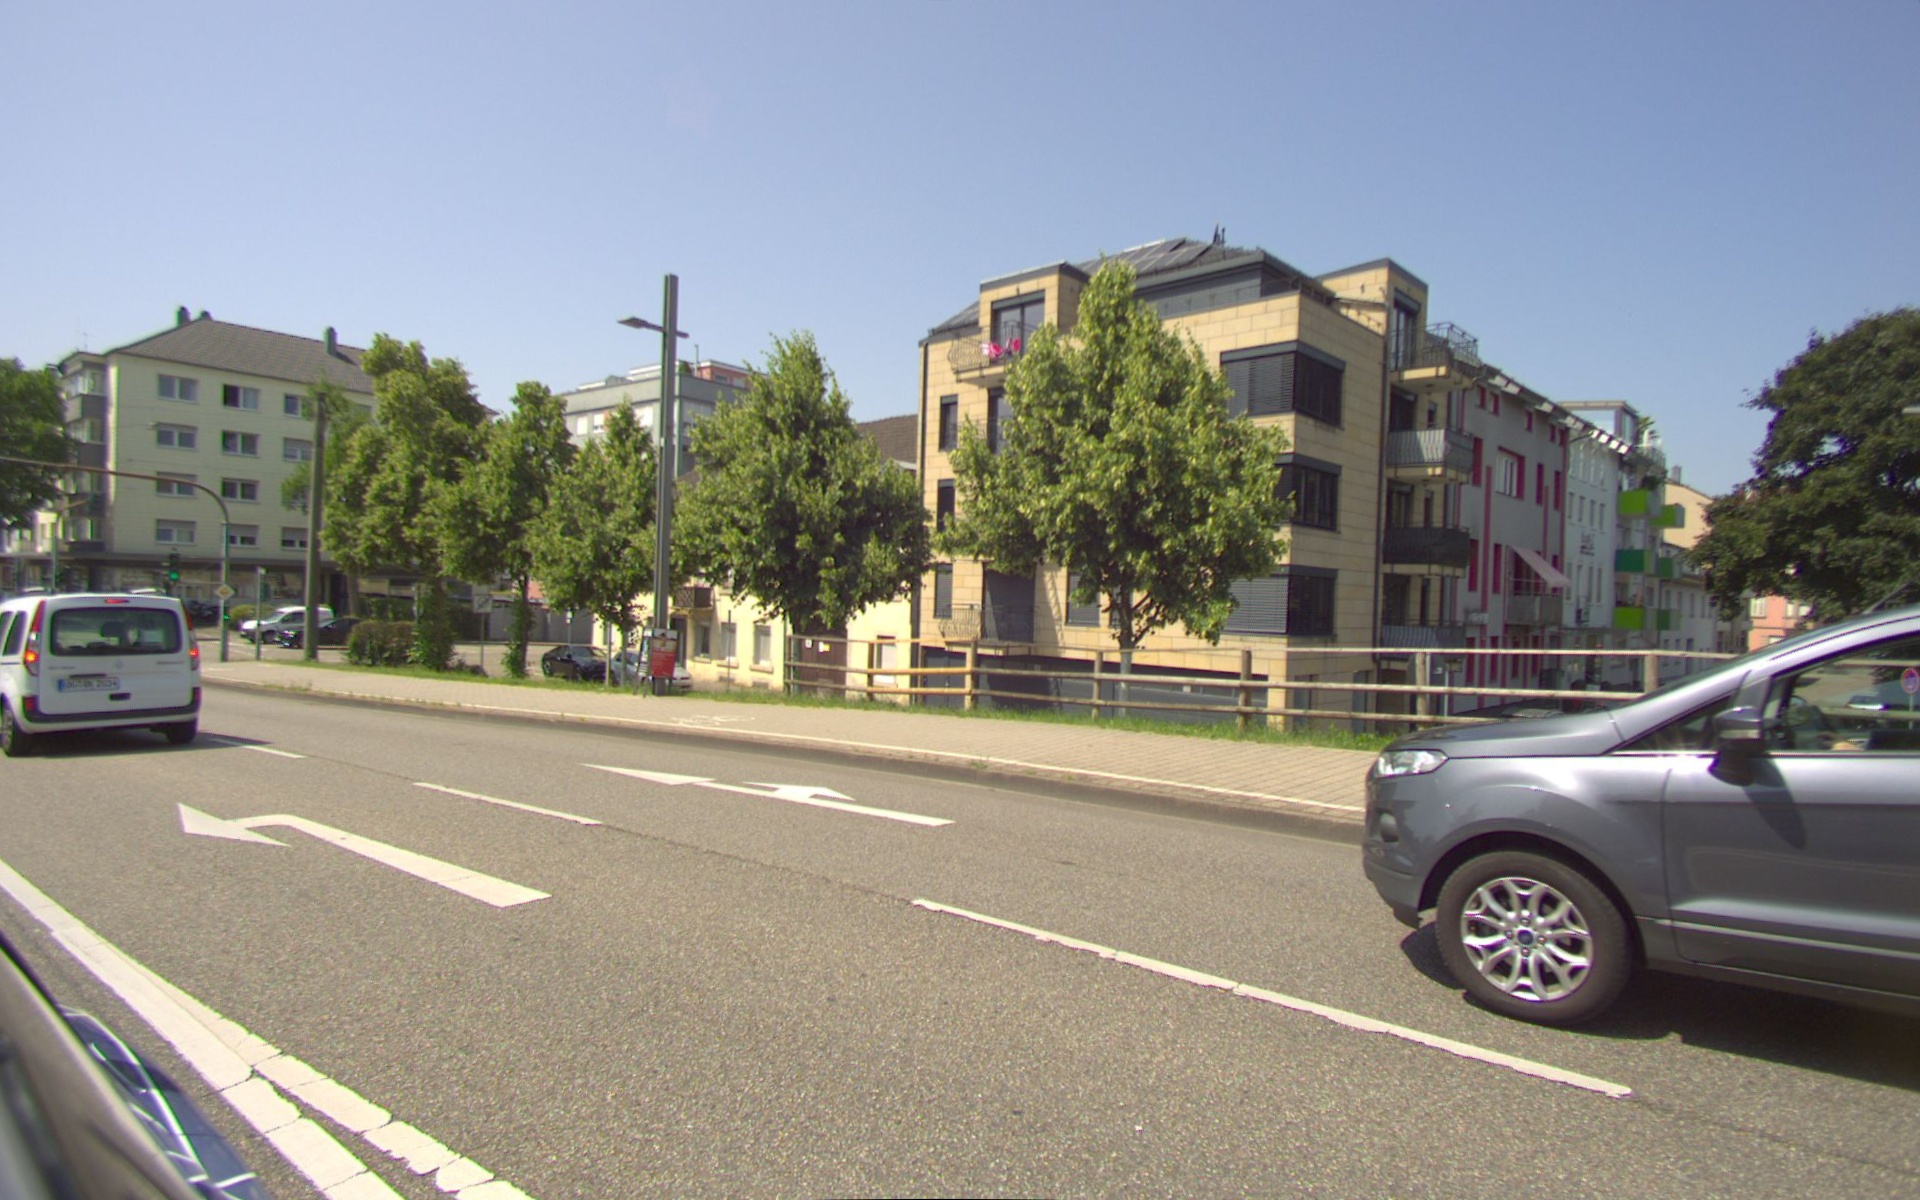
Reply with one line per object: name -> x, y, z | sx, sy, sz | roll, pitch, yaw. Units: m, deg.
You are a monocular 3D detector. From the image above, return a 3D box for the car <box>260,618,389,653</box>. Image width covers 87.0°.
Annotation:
car -> -29.520, 1.662, 47.163 | 2.110, 1.411, 4.568 | 2, -2, 33

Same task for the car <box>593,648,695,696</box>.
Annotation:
car -> -11.861, 2.636, 37.848 | 4.431, 1.443, 1.756 | 0, 0, 44

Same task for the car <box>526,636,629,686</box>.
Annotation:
car -> -15.737, 2.482, 41.528 | 5.288, 1.640, 1.794 | 2, -2, 44

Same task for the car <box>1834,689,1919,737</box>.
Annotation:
car -> 36.677, 4.424, 39.879 | 3.930, 1.662, 2.006 | 3, -2, -26

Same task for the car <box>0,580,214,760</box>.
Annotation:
car -> -11.306, 0.803, 12.669 | 4.653, 1.874, 1.821 | -2, -2, 36

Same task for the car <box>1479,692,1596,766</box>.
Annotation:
car -> 15.958, 3.469, 27.883 | 2.000, 1.662, 3.944 | 0, -3, 42

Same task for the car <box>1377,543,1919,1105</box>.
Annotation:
car -> 3.697, 0.693, 3.362 | 3.921, 1.653, 1.718 | 0, -2, 43

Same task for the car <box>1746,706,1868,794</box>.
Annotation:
car -> 20.287, 3.494, 24.183 | 2.000, 1.662, 3.942 | 0, -3, 43

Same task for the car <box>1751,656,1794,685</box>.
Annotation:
car -> 53.702, 4.611, 66.902 | 2.000, 1.662, 3.944 | 0, -1, 42

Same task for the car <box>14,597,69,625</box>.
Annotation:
car -> -52.316, 0.631, 57.644 | 3.933, 1.469, 1.568 | 2, 0, 36

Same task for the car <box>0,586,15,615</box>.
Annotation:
car -> -63.271, 0.007, 66.056 | 3.852, 1.853, 1.624 | 1, 1, 36

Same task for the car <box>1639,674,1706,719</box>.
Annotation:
car -> 31.836, 4.257, 45.170 | 2.000, 1.662, 3.944 | 0, -1, 42

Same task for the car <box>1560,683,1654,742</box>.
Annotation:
car -> 21.426, 3.666, 33.473 | 2.000, 1.662, 3.944 | 0, -3, 42

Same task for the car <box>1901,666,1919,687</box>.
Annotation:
car -> 82.736, 6.598, 87.034 | 3.933, 1.662, 1.786 | 1, -1, -34

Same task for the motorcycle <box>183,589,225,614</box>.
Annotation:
motorcycle -> -45.784, 0.103, 61.318 | 0.713, 1.431, 1.897 | 4, 2, 37

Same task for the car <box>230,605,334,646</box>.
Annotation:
car -> -32.611, 1.256, 48.746 | 1.889, 1.748, 3.654 | 2, -2, 35

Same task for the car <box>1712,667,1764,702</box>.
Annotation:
car -> 43.762, 4.702, 56.895 | 2.000, 1.662, 3.944 | 0, -1, 42

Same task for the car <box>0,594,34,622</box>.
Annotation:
car -> -58.733, 0.489, 62.320 | 4.831, 1.580, 1.607 | 2, 0, 37

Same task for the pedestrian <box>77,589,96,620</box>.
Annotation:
pedestrian -> -50.423, 0.279, 58.404 | 0.741, 1.773, 0.621 | 2, 0, 36

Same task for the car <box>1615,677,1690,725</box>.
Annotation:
car -> 28.051, 4.037, 40.967 | 2.000, 1.662, 3.944 | 0, -3, 42
